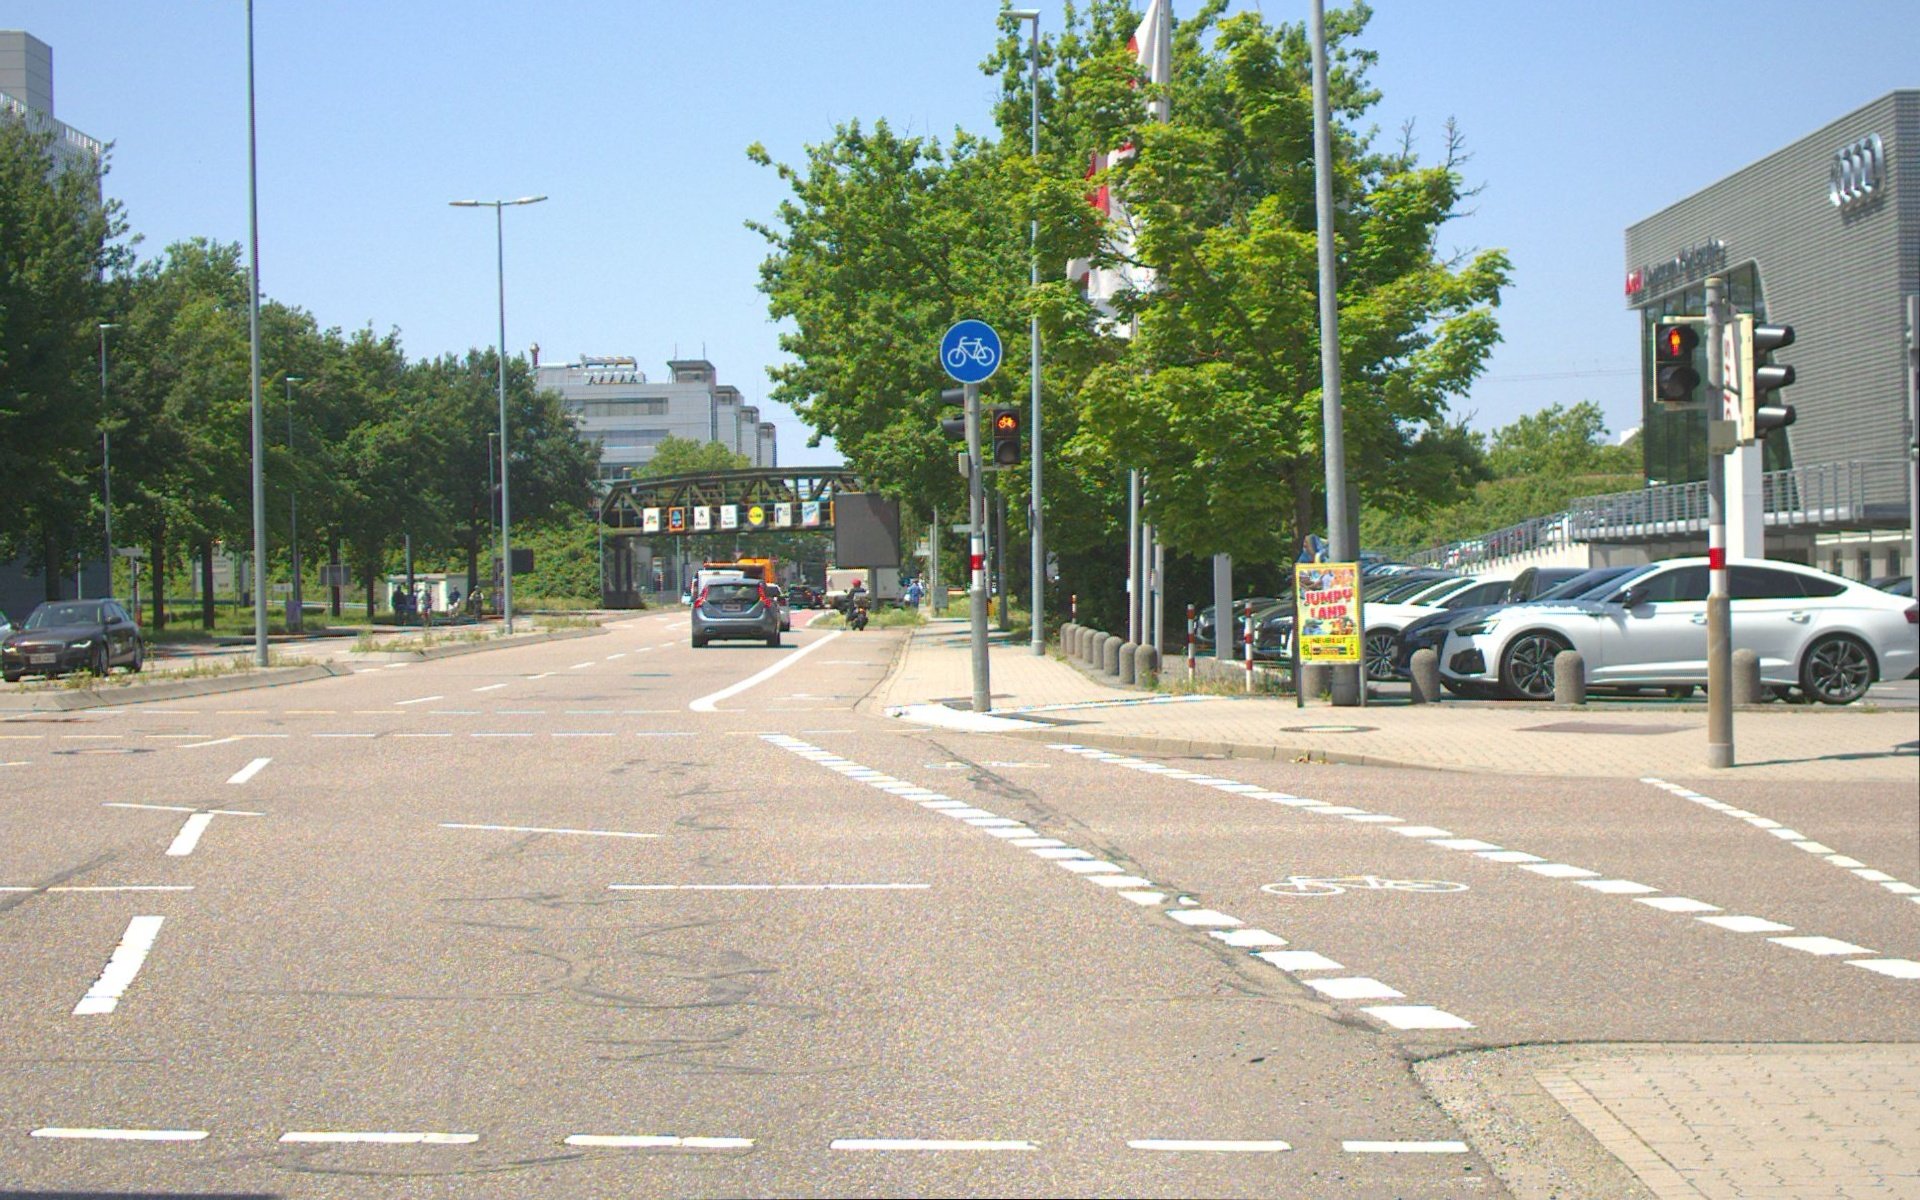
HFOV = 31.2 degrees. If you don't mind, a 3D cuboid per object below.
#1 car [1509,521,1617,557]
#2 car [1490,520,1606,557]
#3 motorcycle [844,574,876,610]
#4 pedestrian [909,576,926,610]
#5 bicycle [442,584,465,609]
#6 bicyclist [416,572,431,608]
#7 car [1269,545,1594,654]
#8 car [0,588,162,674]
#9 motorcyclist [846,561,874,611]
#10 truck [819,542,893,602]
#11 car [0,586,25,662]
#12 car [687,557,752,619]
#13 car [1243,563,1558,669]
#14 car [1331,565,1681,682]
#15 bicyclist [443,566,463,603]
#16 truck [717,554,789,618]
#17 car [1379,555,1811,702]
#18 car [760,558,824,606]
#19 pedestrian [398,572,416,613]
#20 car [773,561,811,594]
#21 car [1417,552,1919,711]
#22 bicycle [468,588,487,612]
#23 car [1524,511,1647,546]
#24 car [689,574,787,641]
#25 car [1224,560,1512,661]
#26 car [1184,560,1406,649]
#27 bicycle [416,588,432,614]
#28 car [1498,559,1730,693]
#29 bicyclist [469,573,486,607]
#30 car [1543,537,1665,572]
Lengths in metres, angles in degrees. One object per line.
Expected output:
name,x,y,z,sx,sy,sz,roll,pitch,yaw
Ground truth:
car,21.891,-2.219,124.866,3.523,1.235,1.677,1,0,-5
car,22.109,-2.298,129.361,3.986,1.307,1.798,1,0,-5
motorcycle,-3.074,-0.240,105.926,0.716,1.101,1.831,1,0,-10
pedestrian,-1.720,-0.297,138.974,0.623,1.370,0.564,-1,0,-2
bicycle,-23.065,-0.158,156.481,0.739,1.121,2.435,-1,0,-2
bicyclist,-23.856,-0.435,152.885,0.637,1.577,0.885,-1,0,-8
car,6.329,-0.010,46.463,4.099,1.344,1.869,1,0,0
car,-16.072,0.543,62.681,1.726,1.441,4.719,-3,0,2
motorcyclist,-3.090,-0.441,105.988,0.719,1.524,0.871,1,0,-10
truck,-5.049,-1.373,167.825,2.616,2.841,5.612,1,1,9
car,-19.488,0.488,66.437,1.743,1.481,4.000,-2,0,-1
car,-8.098,-0.418,116.039,1.993,2.007,4.000,-1,0,-1
car,6.264,0.221,49.218,4.226,1.385,1.869,1,0,0
car,6.879,0.289,43.619,4.096,1.360,1.874,1,0,0
bicyclist,-23.069,-0.703,156.359,0.745,1.680,0.952,-1,0,-2
truck,-8.075,-0.577,134.641,2.458,2.402,7.134,1,1,-1
car,6.533,0.284,35.659,4.096,1.385,1.869,1,0,0
car,-4.927,-0.546,101.168,1.744,1.391,3.529,0,1,-1
pedestrian,-25.806,-0.346,160.394,0.743,1.878,0.577,-1,0,0
car,-10.502,-1.407,214.936,1.994,2.007,4.000,-2,0,2
car,6.838,0.294,33.255,4.592,1.385,1.869,1,0,2
bicycle,-23.587,0.006,168.200,0.629,1.155,2.117,-3,0,-1
car,21.928,-2.507,120.520,3.938,1.207,1.718,0,0,-5
car,-4.735,0.144,73.760,1.900,1.371,4.232,-1,0,-1
car,6.154,0.147,52.160,4.101,1.400,1.869,1,0,0
car,5.844,0.075,60.313,3.681,1.448,1.834,1,0,0
bicycle,-23.850,0.057,152.939,0.637,1.130,1.971,-1,0,-8
car,7.487,0.271,39.769,1.863,1.415,4.662,1,0,1
bicyclist,-23.611,-0.472,168.122,0.633,1.623,1.045,-3,0,-1
car,21.780,-1.528,116.347,3.724,1.127,1.684,1,0,-5
